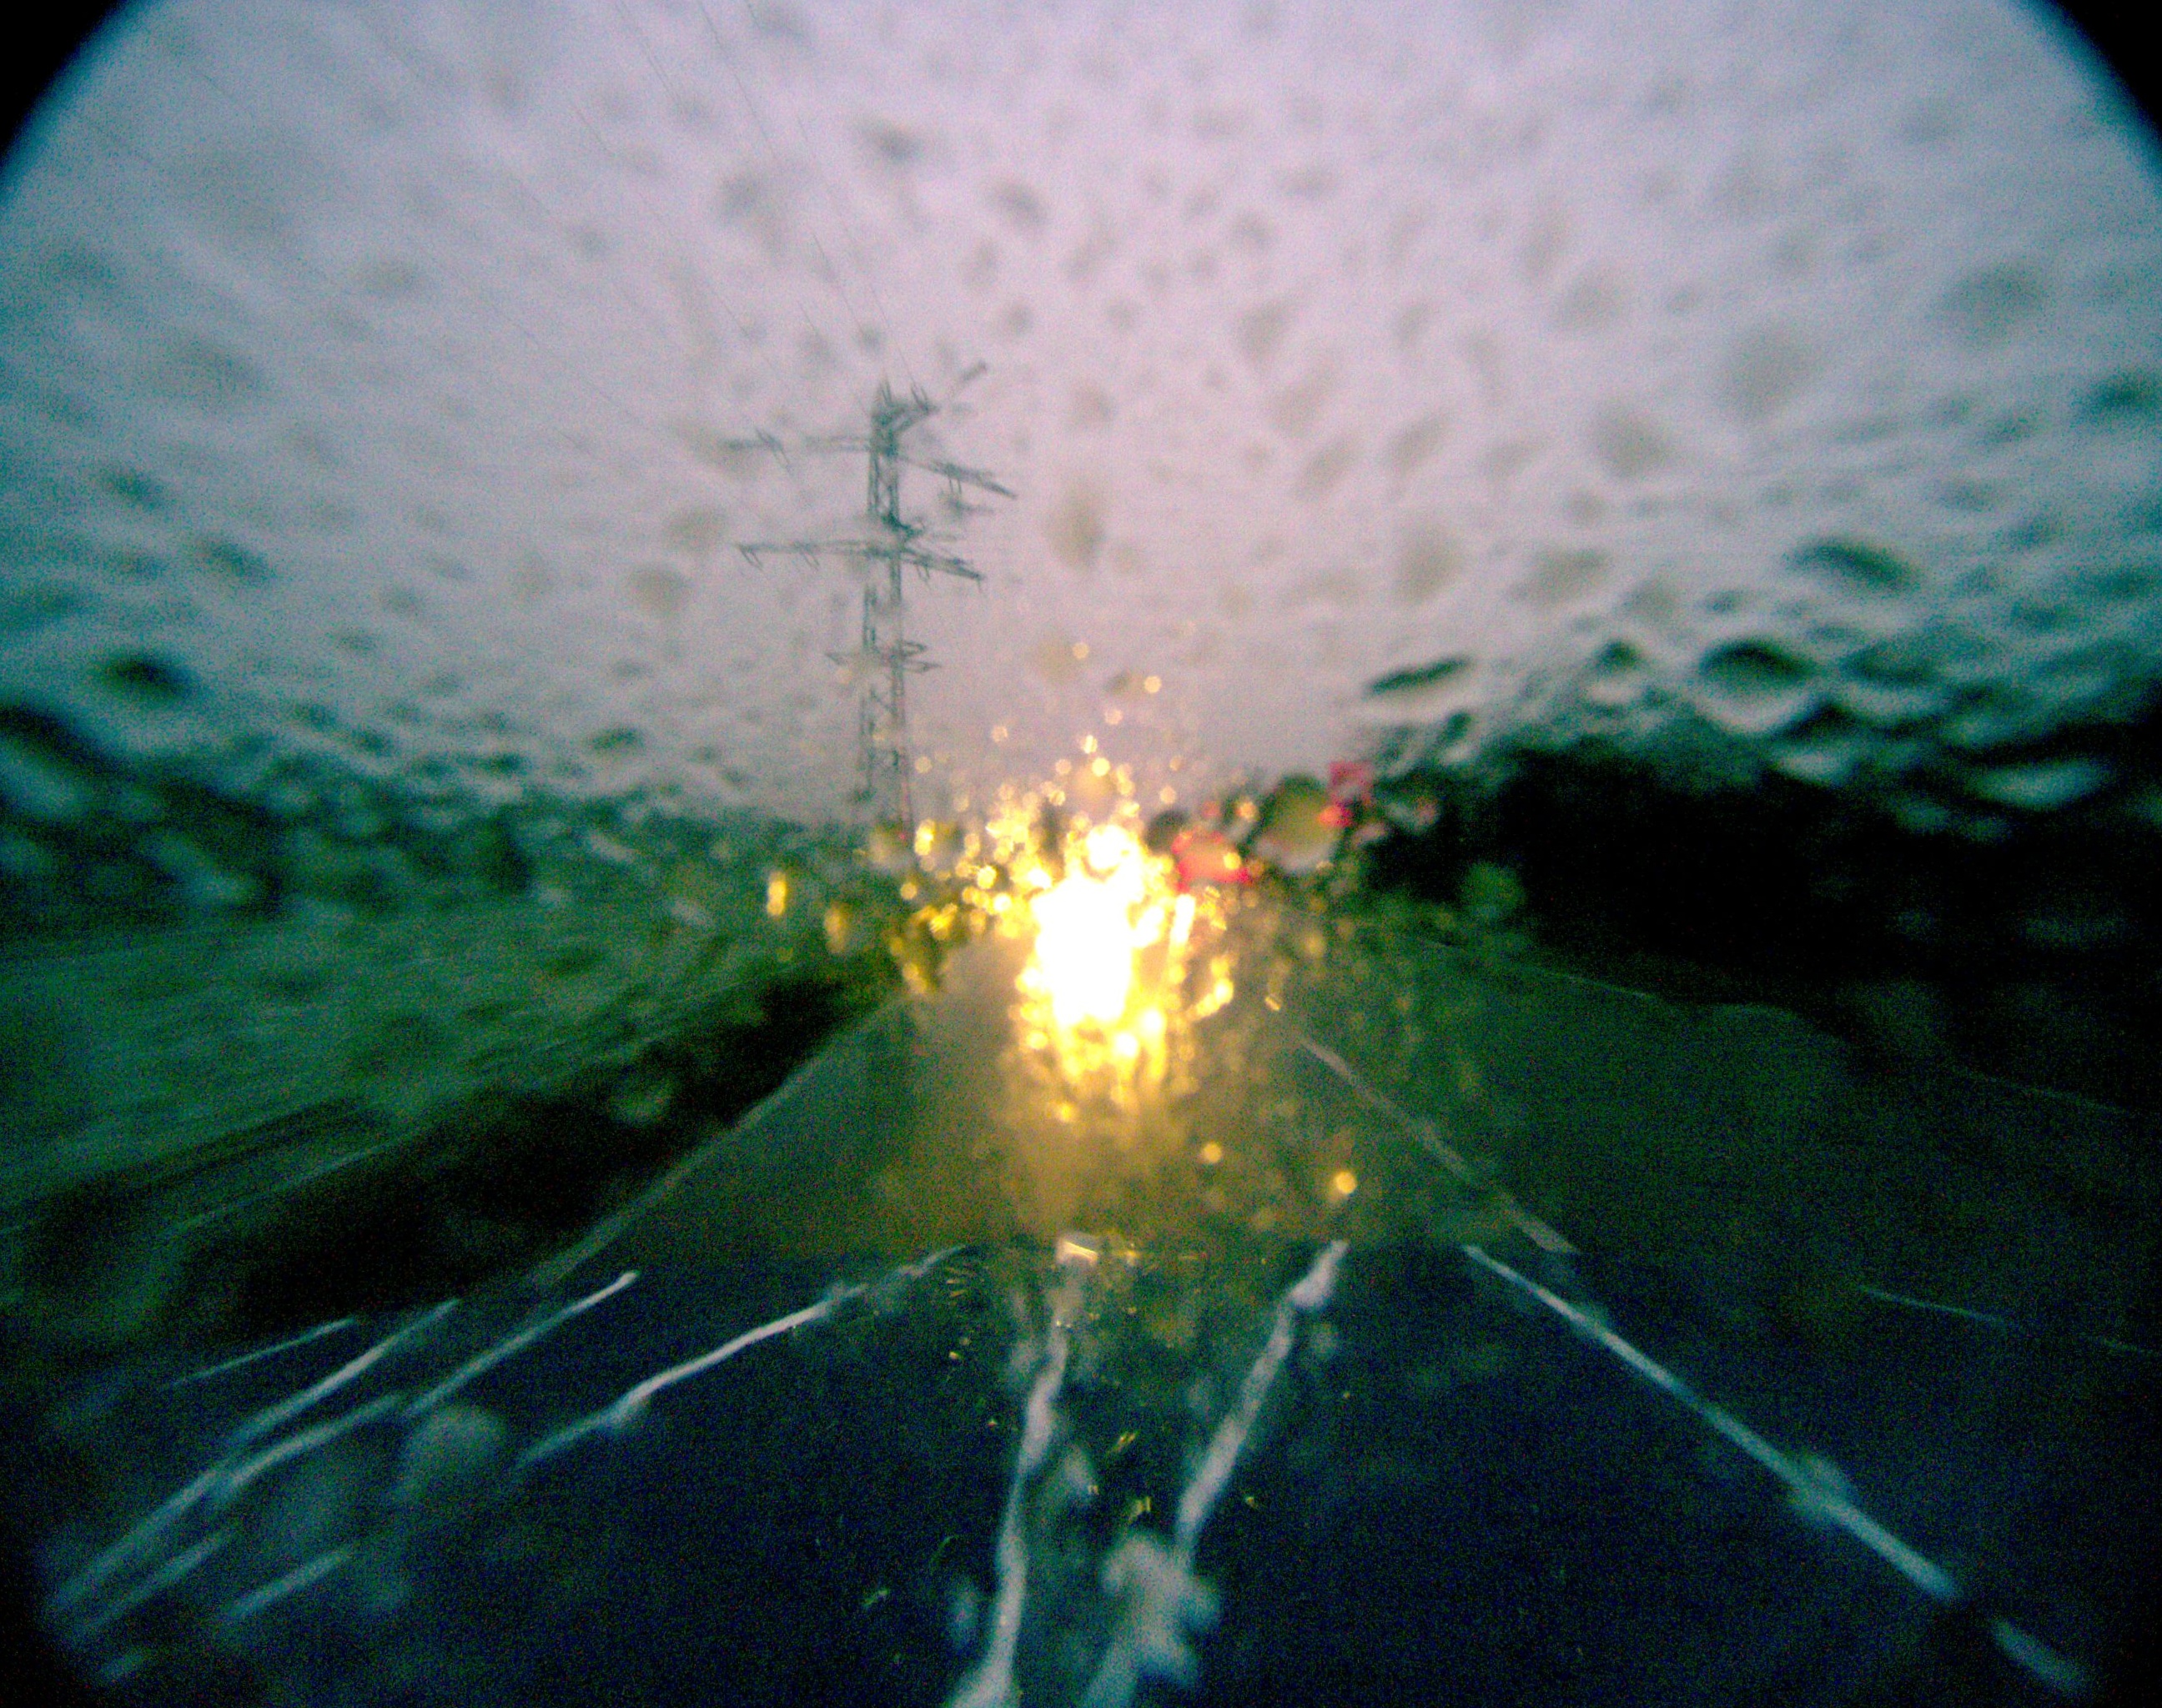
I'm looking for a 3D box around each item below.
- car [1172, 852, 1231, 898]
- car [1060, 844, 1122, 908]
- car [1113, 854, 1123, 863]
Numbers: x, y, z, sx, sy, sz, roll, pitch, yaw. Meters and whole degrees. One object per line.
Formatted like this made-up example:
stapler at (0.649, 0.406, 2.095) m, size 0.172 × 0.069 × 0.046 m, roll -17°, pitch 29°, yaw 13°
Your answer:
car at (4.654, 0.768, 29.856) m, size 1.676 × 1.621 × 3.976 m, roll -2°, pitch 0°, yaw 0°
car at (0.273, 0.703, 26.523) m, size 1.857 × 2.002 × 3.999 m, roll -2°, pitch 1°, yaw -3°
car at (7.053, 0.859, 145.092) m, size 1.739 × 1.604 × 4.212 m, roll -2°, pitch 0°, yaw 2°
